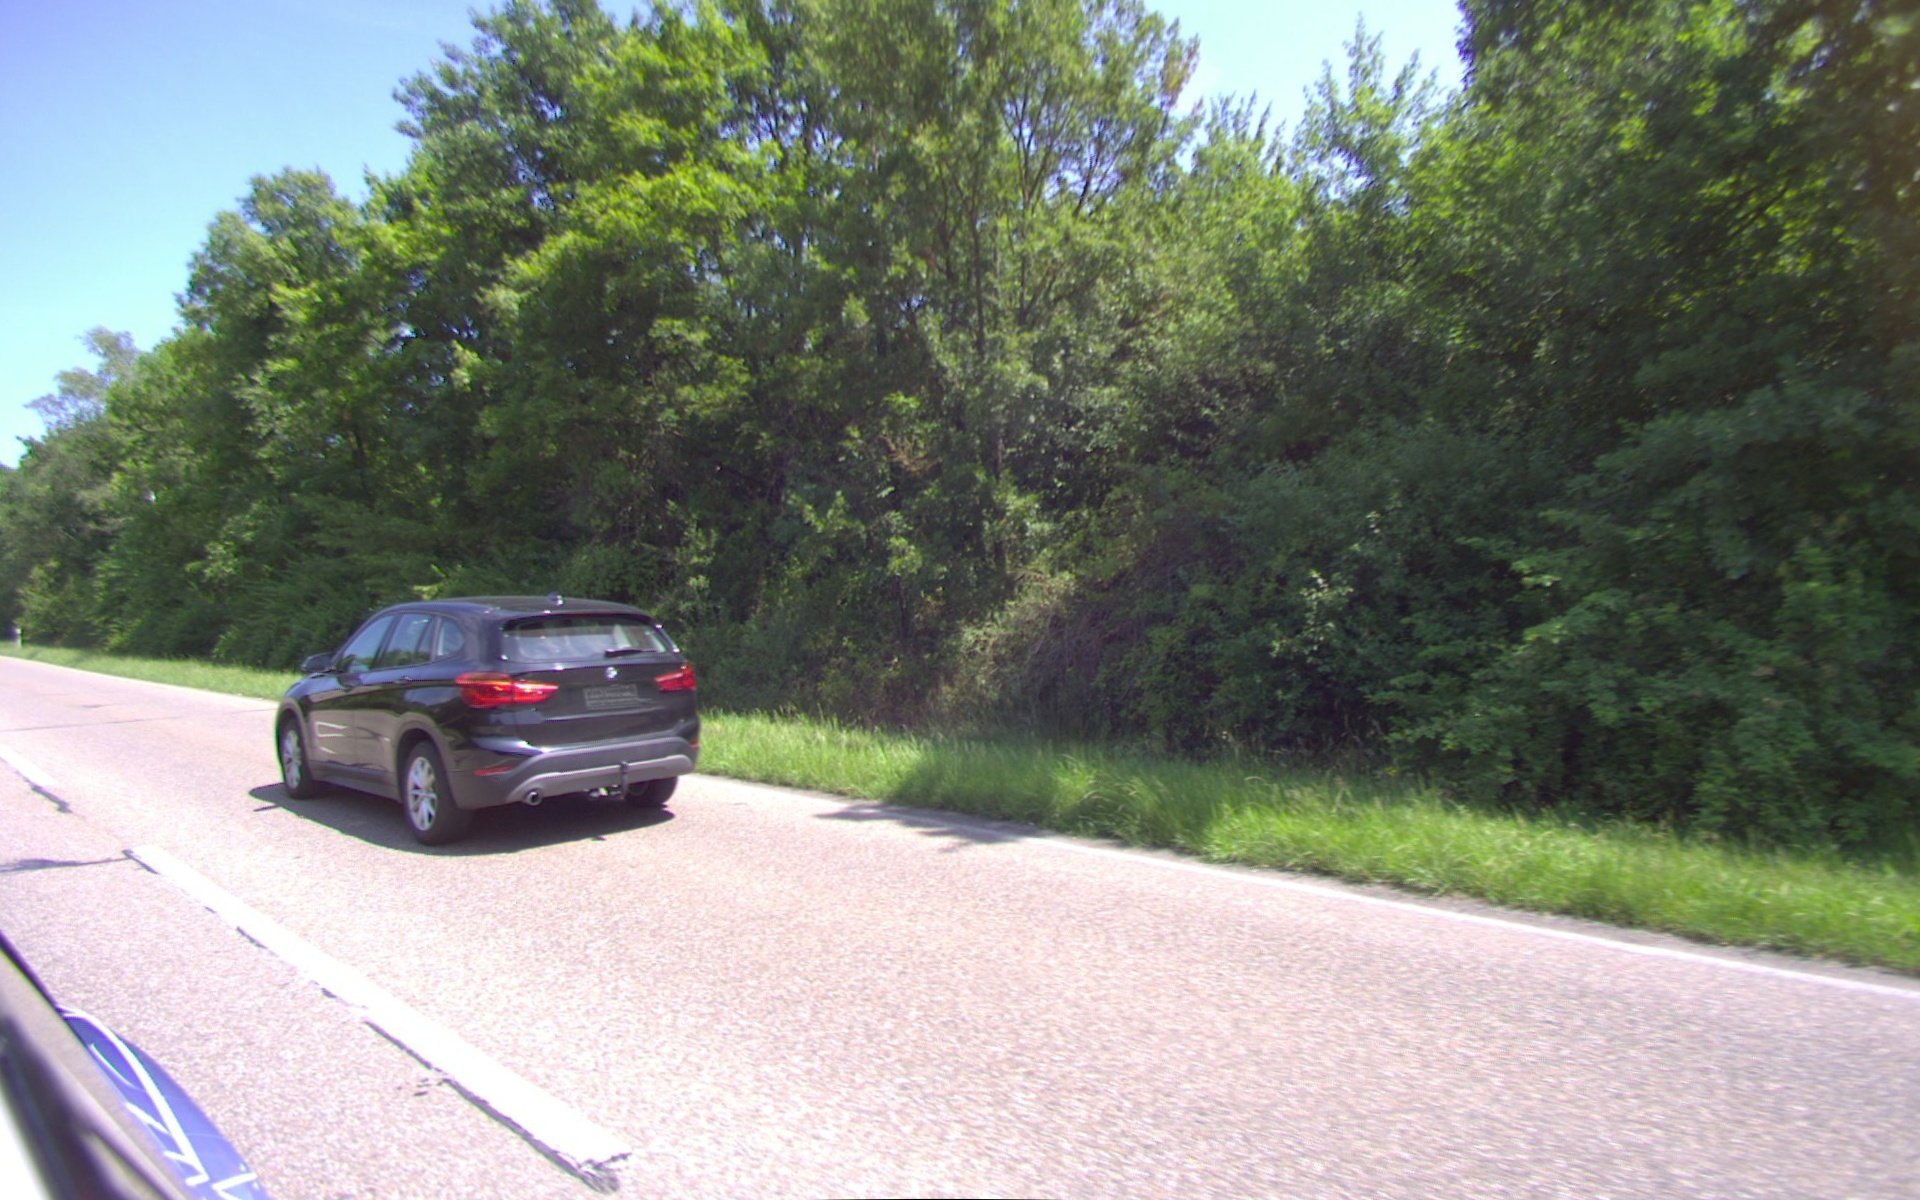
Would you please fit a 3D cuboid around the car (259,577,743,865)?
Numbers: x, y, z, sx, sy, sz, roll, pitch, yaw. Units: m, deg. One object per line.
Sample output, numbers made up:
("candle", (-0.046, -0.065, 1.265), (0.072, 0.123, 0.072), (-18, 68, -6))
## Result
("car", (-3.736, 0.710, 7.808), (4.439, 1.617, 1.734), (-1, -1, 41))
